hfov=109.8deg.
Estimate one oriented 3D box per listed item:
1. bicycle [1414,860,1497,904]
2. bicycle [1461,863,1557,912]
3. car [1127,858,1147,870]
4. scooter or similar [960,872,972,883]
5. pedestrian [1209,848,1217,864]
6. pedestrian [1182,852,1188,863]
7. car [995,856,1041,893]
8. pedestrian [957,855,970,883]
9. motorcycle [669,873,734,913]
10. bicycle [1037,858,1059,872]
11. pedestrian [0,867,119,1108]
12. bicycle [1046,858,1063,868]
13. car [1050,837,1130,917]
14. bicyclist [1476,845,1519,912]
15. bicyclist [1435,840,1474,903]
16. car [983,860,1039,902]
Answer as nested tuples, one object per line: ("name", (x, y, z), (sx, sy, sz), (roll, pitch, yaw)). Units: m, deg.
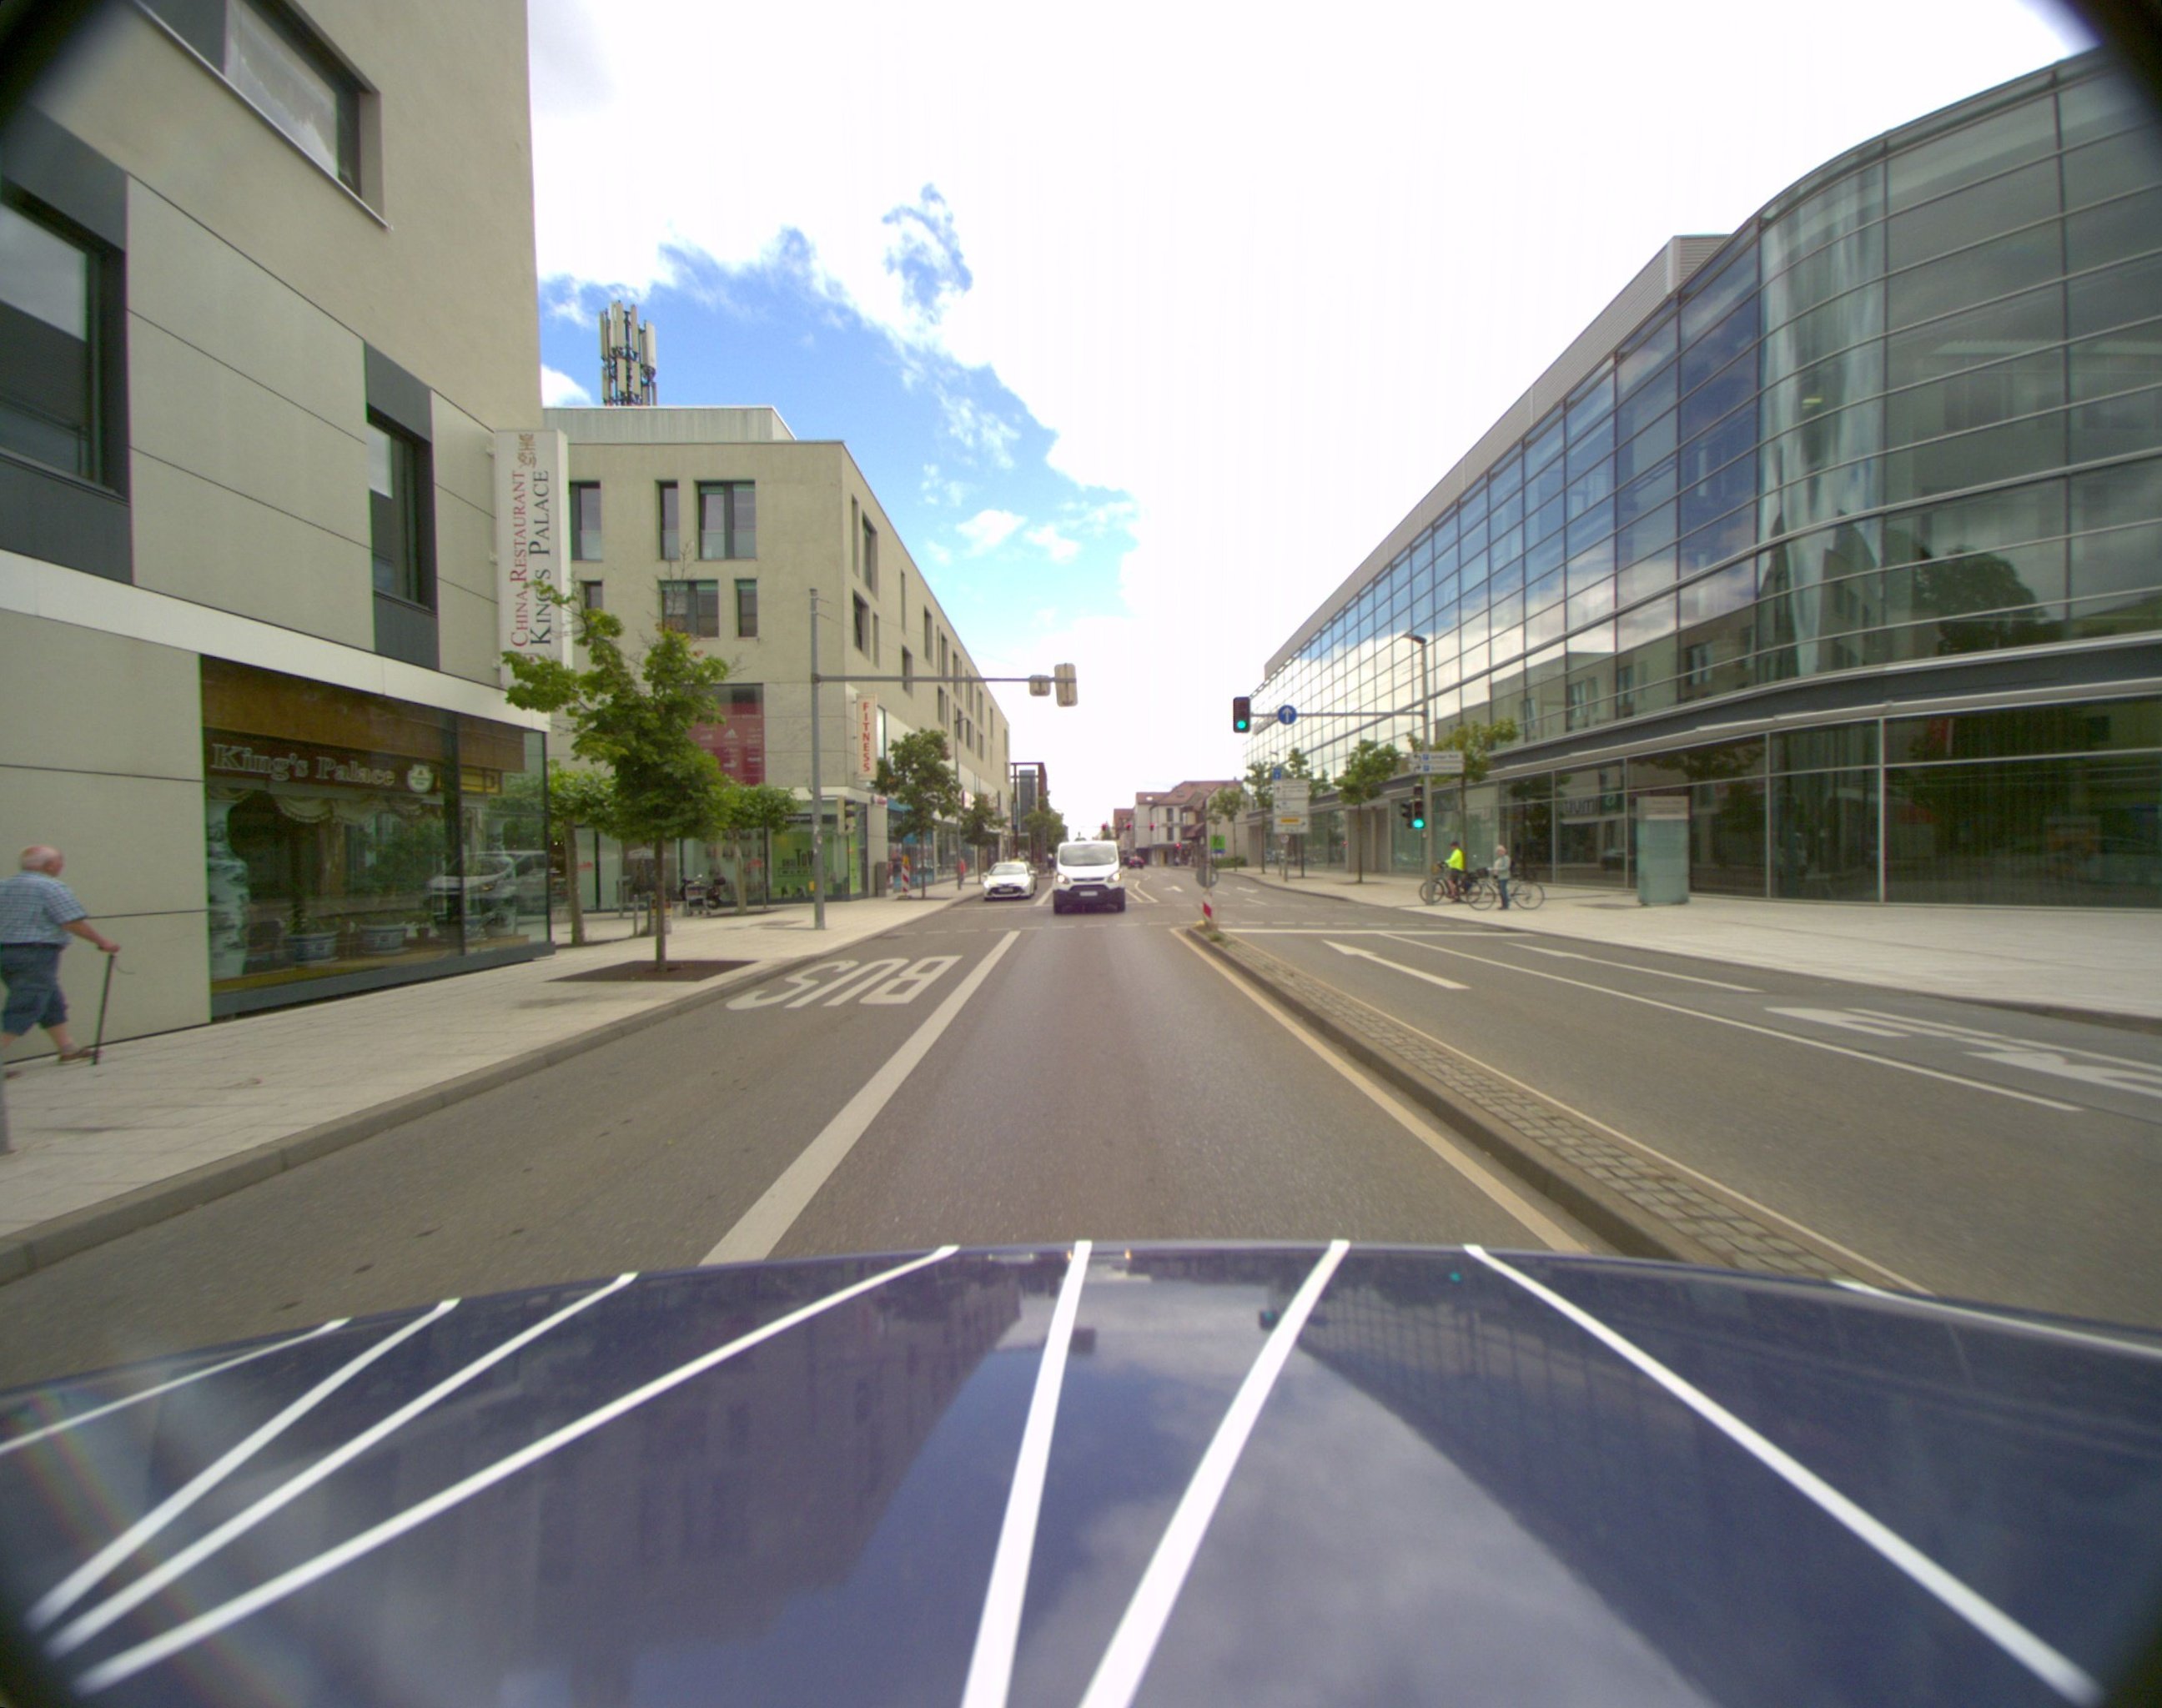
("bicycle", (11.037, 0.833, 22.428), (2.025, 1.199, 0.749), (-3, 1, 44))
("bicycle", (10.948, 0.855, 19.512), (2.003, 1.124, 0.639), (-3, 1, 16))
("car", (6.816, 1.190, 93.321), (1.803, 1.458, 3.998), (-1, 0, -5))
("scooter or similar", (-6.555, 1.323, 43.280), (0.552, 0.630, 0.767), (0, 0, 0))
("pedestrian", (13.706, 0.212, 79.004), (0.702, 1.614, 0.693), (-1, 1, 0))
("pedestrian", (14.473, 0.428, 105.576), (0.555, 1.507, 0.582), (-1, 1, -32))
("car", (-2.954, 0.909, 36.484), (1.741, 1.533, 4.790), (-3, 1, 0))
("pedestrian", (-6.560, 0.852, 42.520), (0.590, 1.558, 0.732), (0, 1, 0))
("motorcycle", (-13.021, 1.332, 26.114), (1.844, 1.251, 0.593), (-3, 3, -2))
("bicycle", (-2.684, 0.909, 61.271), (1.745, 1.093, 0.561), (1, 0, -7))
("pedestrian", (-7.846, 0.939, 5.570), (0.746, 1.659, 0.614), (-1, 1, 1))
("bicycle", (-2.817, 0.974, 81.373), (1.745, 1.015, 0.451), (0, 0, -6))
("car", (0.246, 0.578, 22.346), (2.000, 1.976, 5.000), (-3, 1, 0))
("bicyclist", (10.713, 0.622, 19.565), (0.783, 1.639, 0.639), (-3, 1, 16))
("bicyclist", (11.019, 0.524, 22.425), (0.772, 1.790, 0.749), (-3, 1, 44))
("car", (-2.689, 1.000, 30.109), (1.787, 1.417, 4.514), (-2, 1, -1))
